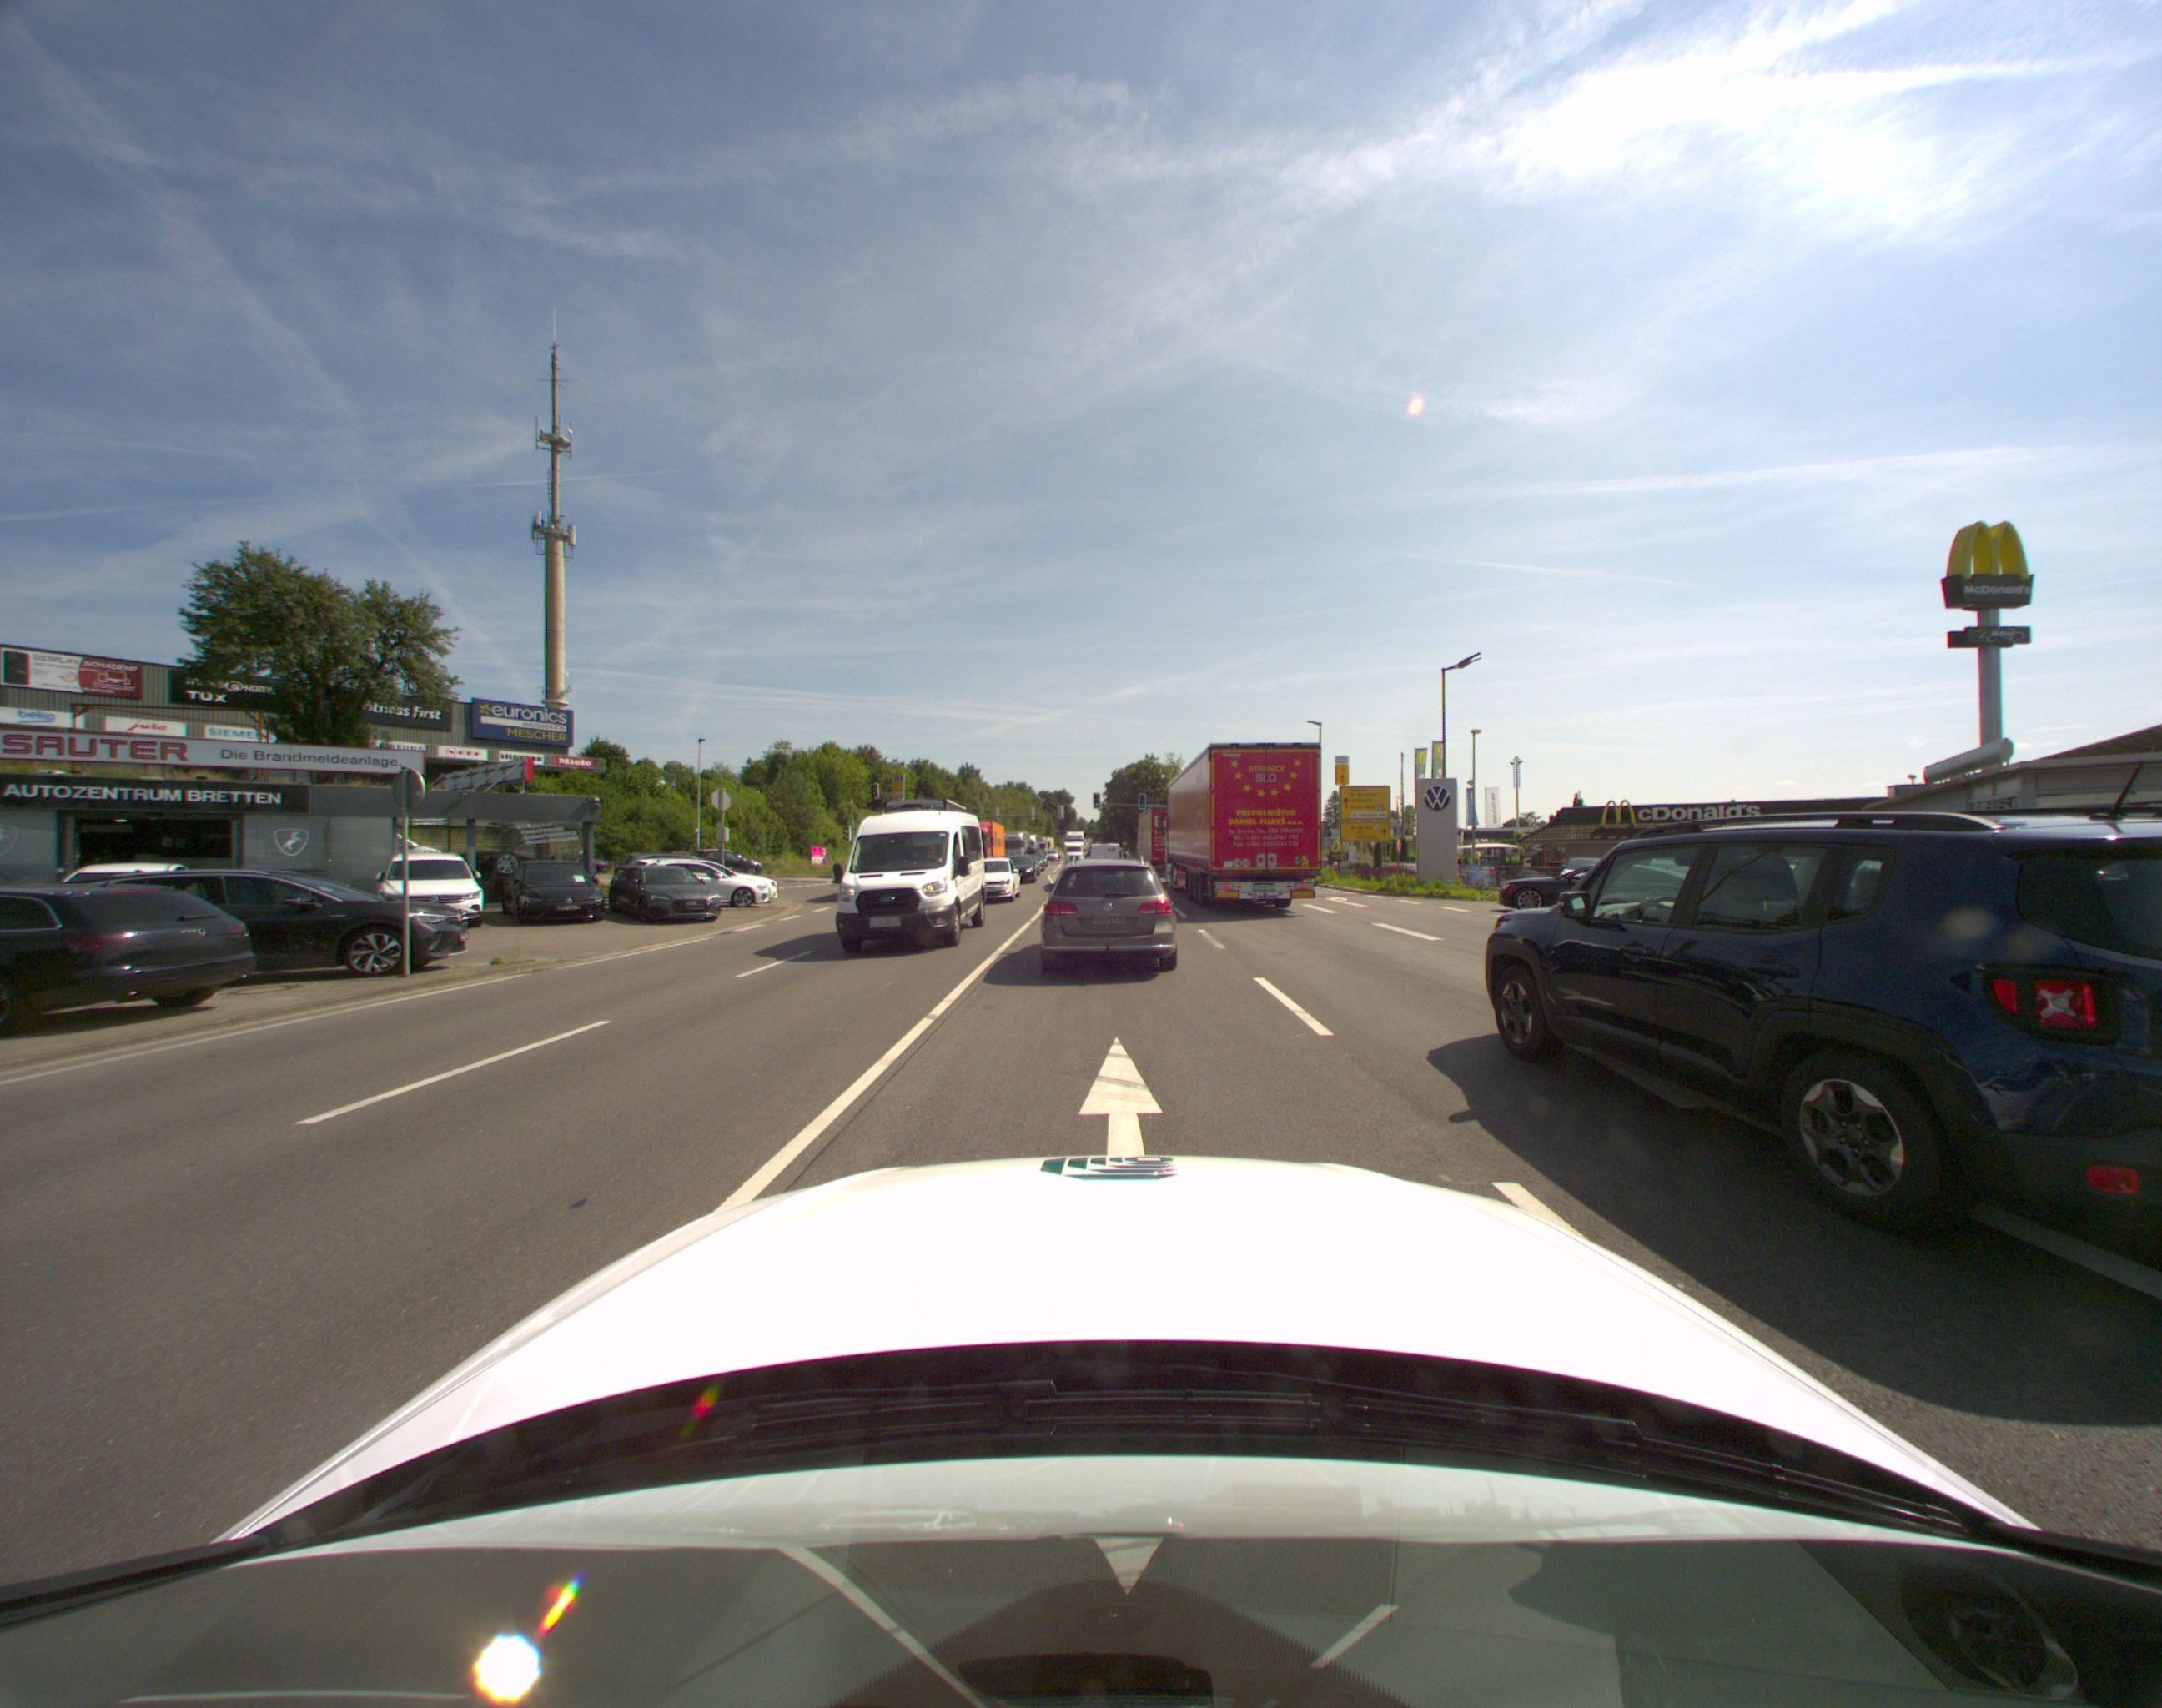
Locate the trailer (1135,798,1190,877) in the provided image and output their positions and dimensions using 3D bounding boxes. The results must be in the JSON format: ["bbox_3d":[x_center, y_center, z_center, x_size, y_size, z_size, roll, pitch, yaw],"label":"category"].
[{"bbox_3d":[4.866,-0.916,50.818,2.386,4.243,13.082,-1,0,2],"label":"trailer"}]

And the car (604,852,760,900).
[{"bbox_3d":[-14.695,0.839,30.177,4.821,1.626,1.909,2,-2,-40],"label":"car"}]

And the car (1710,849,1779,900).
[{"bbox_3d":[24.119,0.685,29.703,1.753,1.671,4.197,-1,0,37],"label":"car"}]

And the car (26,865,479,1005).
[{"bbox_3d":[-11.672,1.033,11.974,4.192,1.622,2.013,-1,0,-26],"label":"car"}]

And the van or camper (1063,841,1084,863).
[{"bbox_3d":[-0.876,-0.234,99.183,2.323,2.600,6.978,-1,0,0],"label":"van or camper"}]

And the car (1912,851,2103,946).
[{"bbox_3d":[19.007,0.823,16.685,4.036,1.671,1.759,-1,0,-29],"label":"car"}]

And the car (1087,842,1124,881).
[{"bbox_3d":[1.250,0.396,43.597,1.765,1.936,3.976,-1,0,-1],"label":"car"}]

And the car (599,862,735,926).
[{"bbox_3d":[-11.359,1.011,22.208,4.584,1.436,1.986,1,1,45],"label":"car"}]

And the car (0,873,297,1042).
[{"bbox_3d":[-11.456,1.043,8.767,4.020,1.530,2.032,-1,0,1],"label":"car"}]

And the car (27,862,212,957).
[{"bbox_3d":[-18.832,0.978,16.159,1.837,1.524,4.094,0,1,-42],"label":"car"}]

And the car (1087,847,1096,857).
[{"bbox_3d":[2.295,-0.473,179.079,1.987,2.013,3.999,-1,0,-1],"label":"car"}]

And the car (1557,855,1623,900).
[{"bbox_3d":[20.232,0.893,32.283,1.837,1.576,4.260,-1,0,37],"label":"car"}]

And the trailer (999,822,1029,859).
[{"bbox_3d":[-7.870,-1.545,96.303,2.635,4.105,6.183,-1,0,2],"label":"trailer"}]

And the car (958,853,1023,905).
[{"bbox_3d":[-2.976,0.788,27.615,1.648,1.555,4.000,-3,0,0],"label":"car"}]

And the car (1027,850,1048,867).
[{"bbox_3d":[-4.383,0.455,82.829,1.915,1.602,4.587,-2,1,-1],"label":"car"}]

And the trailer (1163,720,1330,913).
[{"bbox_3d":[4.439,-0.881,25.137,2.828,4.365,13.173,1,0,2],"label":"trailer"}]

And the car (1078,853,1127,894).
[{"bbox_3d":[0.807,0.741,32.802,1.765,1.513,3.998,-1,0,-1],"label":"car"}]

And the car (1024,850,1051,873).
[{"bbox_3d":[-3.512,0.579,66.123,1.903,1.602,4.587,-3,1,-1],"label":"car"}]

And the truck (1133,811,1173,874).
[{"bbox_3d":[4.983,-0.793,57.120,2.397,4.127,5.523,-1,0,1],"label":"truck"}]

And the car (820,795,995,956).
[{"bbox_3d":[-3.131,0.334,16.512,2.052,2.510,7.112,-1,0,-1],"label":"car"}]

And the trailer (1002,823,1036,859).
[{"bbox_3d":[-7.690,-1.525,102.885,2.681,4.147,13.884,-1,0,2],"label":"trailer"}]

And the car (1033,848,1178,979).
[{"bbox_3d":[0.273,0.699,11.630,1.686,1.513,3.998,-1,0,-1],"label":"car"}]

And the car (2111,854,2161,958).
[{"bbox_3d":[20.153,0.879,14.593,4.017,1.671,1.900,-1,0,-36],"label":"car"}]

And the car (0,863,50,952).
[{"bbox_3d":[-20.828,0.988,14.841,1.826,1.524,4.293,0,1,-42],"label":"car"}]

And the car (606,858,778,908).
[{"bbox_3d":[-12.363,0.932,25.974,4.732,1.475,1.874,2,-1,-32],"label":"car"}]

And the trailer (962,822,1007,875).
[{"bbox_3d":[-8.071,-0.434,69.496,2.714,3.998,12.224,-1,0,-2],"label":"trailer"}]

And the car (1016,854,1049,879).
[{"bbox_3d":[-3.214,0.808,54.580,1.855,1.524,4.589,-2,1,0],"label":"car"}]

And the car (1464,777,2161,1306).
[{"bbox_3d":[3.926,0.568,4.554,1.764,1.654,4.002,-1,0,2],"label":"car"}]

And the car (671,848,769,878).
[{"bbox_3d":[-20.257,0.535,45.849,4.662,1.527,1.892,2,-1,-43],"label":"car"}]

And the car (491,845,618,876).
[{"bbox_3d":[-26.090,0.363,40.478,5.001,1.419,1.926,2,-3,-43],"label":"car"}]

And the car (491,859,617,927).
[{"bbox_3d":[-13.678,0.910,21.030,4.291,1.486,1.810,1,1,44],"label":"car"}]

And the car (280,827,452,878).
[{"bbox_3d":[-31.431,-0.004,35.995,5.545,2.042,2.043,2,-1,-43],"label":"car"}]

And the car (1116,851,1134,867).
[{"bbox_3d":[5.642,0.623,104.905,1.987,2.013,3.999,-1,0,-1],"label":"car"}]

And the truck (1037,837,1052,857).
[{"bbox_3d":[-7.474,-1.451,169.819,2.721,3.999,9.616,-1,0,-1],"label":"truck"}]

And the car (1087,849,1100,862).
[{"bbox_3d":[1.947,0.292,132.952,1.987,2.013,3.999,-1,0,-1],"label":"car"}]

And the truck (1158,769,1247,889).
[{"bbox_3d":[4.656,-0.895,32.205,2.859,4.281,5.842,1,0,2],"label":"truck"}]

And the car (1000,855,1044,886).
[{"bbox_3d":[-3.025,0.816,42.256,1.705,1.443,4.381,-3,0,2],"label":"car"}]

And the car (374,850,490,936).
[{"bbox_3d":[-15.582,0.816,19.476,1.903,1.748,4.416,0,1,-42],"label":"car"}]

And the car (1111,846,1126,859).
[{"bbox_3d":[5.703,-0.241,123.784,1.987,2.013,3.999,-1,0,-1],"label":"car"}]

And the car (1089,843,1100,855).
[{"bbox_3d":[2.426,-0.940,148.149,1.987,2.013,3.999,-1,0,-1],"label":"car"}]

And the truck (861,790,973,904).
[{"bbox_3d":[-6.500,-0.268,34.027,2.703,3.998,9.971,-1,0,-1],"label":"truck"}]

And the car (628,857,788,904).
[{"bbox_3d":[-12.993,0.930,28.540,4.739,1.513,1.933,2,-1,-39],"label":"car"}]

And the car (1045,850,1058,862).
[{"bbox_3d":[-4.287,0.277,118.930,1.837,1.732,4.587,0,1,-1],"label":"car"}]

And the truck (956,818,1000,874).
[{"bbox_3d":[-7.739,-0.601,61.824,2.714,3.998,6.052,-1,0,-2],"label":"truck"}]

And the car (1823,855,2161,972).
[{"bbox_3d":[15.416,0.871,13.643,1.778,1.654,4.044,1,-1,-24],"label":"car"}]

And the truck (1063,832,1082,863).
[{"bbox_3d":[-1.230,-0.929,113.015,2.530,4.087,6.262,-1,0,-1],"label":"truck"}]

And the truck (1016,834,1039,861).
[{"bbox_3d":[-8.194,-0.986,125.505,3.178,4.079,6.343,-1,0,-1],"label":"truck"}]

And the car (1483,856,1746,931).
[{"bbox_3d":[12.250,0.868,18.955,1.977,1.332,4.759,5,-1,-43],"label":"car"}]
